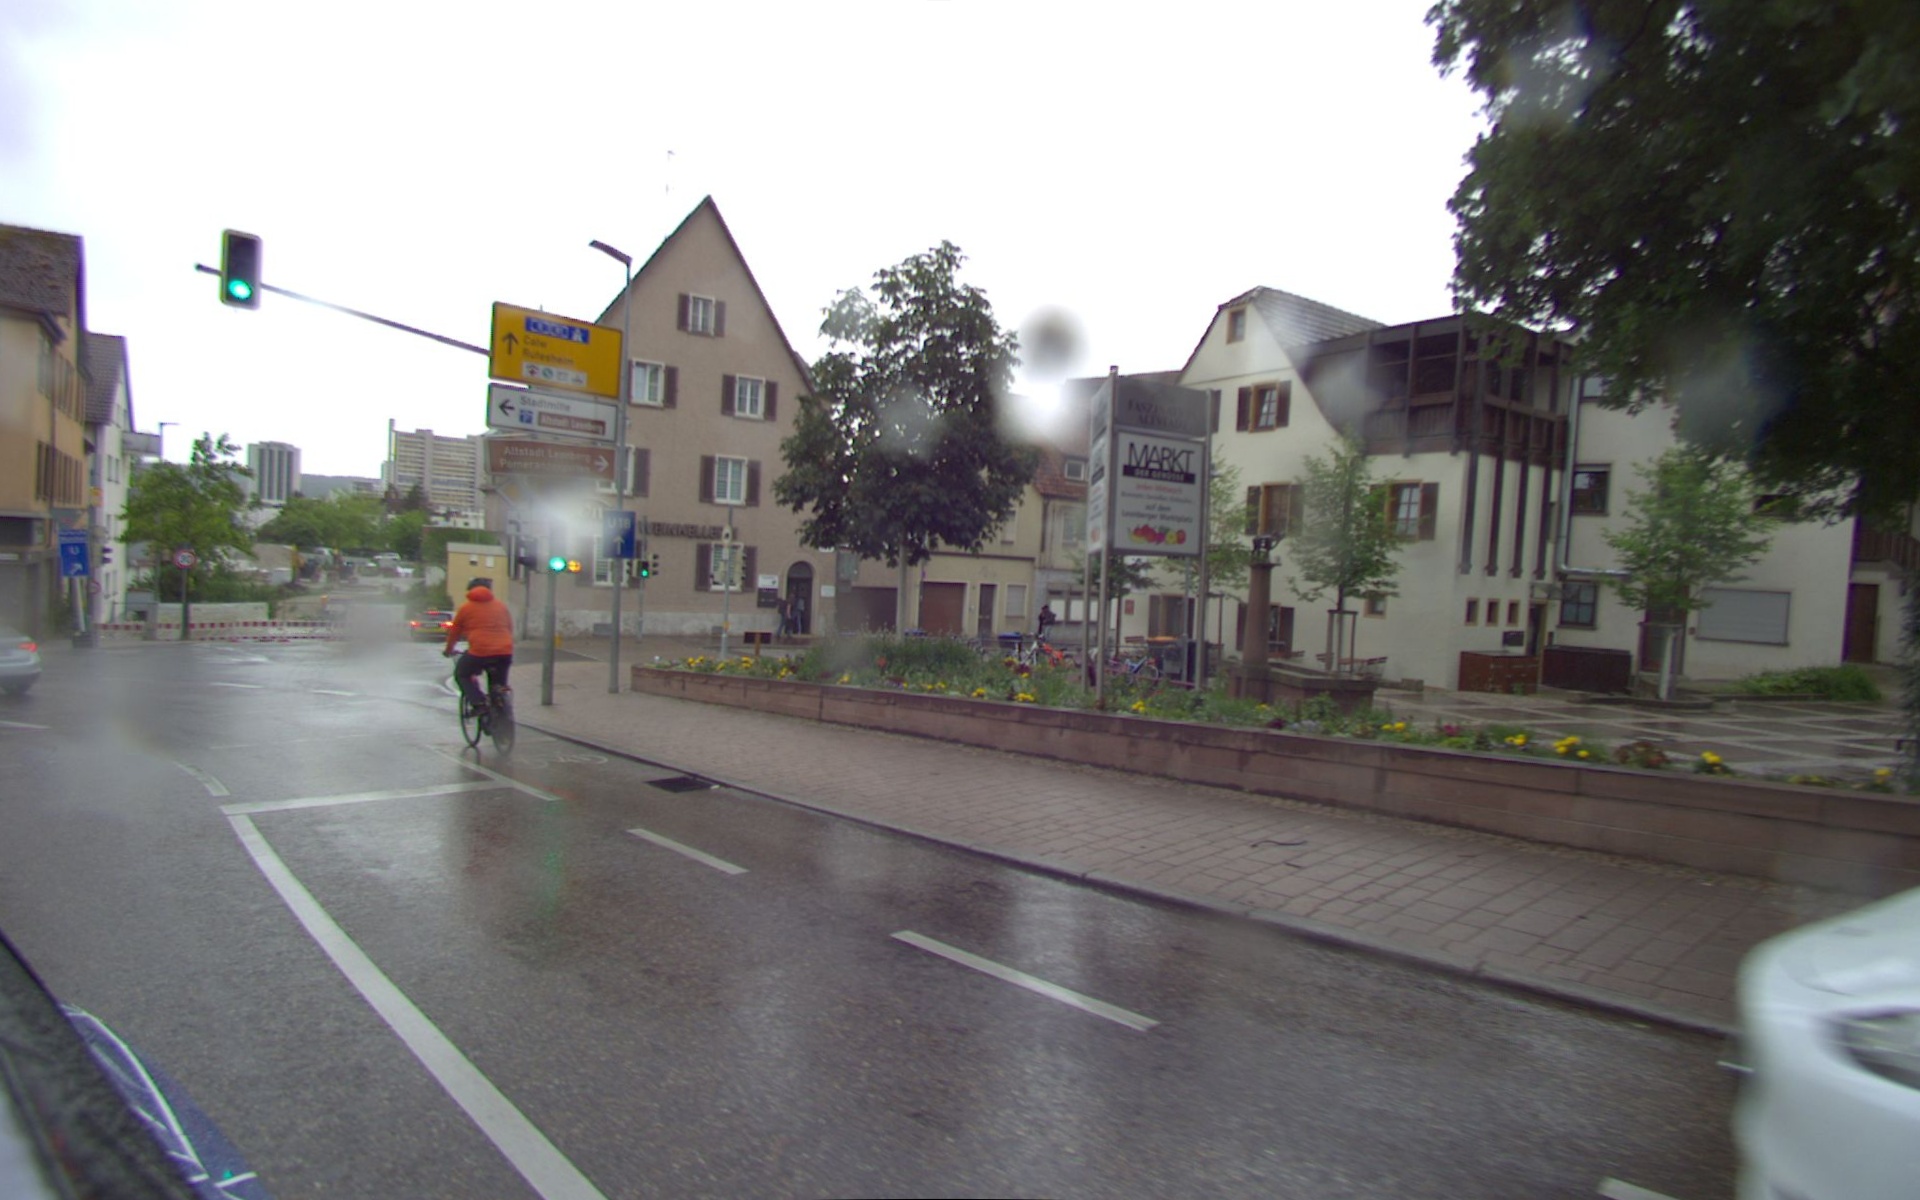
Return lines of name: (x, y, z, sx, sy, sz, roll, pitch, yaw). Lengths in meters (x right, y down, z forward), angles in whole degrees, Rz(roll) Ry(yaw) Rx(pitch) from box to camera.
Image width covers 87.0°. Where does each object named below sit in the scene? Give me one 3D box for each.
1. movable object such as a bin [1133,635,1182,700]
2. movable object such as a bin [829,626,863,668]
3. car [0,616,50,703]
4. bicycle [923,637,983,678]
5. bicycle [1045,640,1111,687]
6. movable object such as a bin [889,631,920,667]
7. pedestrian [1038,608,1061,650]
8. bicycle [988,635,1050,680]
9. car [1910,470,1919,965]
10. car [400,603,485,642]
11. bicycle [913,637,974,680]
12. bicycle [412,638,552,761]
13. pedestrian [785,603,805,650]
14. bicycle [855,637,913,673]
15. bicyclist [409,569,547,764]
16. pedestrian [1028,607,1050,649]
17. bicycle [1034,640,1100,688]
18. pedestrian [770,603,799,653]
movable object such as a bin: (4.214, 1.433, 21.623, 0.735, 1.285, 0.687, 0, 4, -27)
movable object such as a bin: (-3.055, 1.259, 27.184, 0.777, 0.933, 0.726, 3, -17, 1)
car: (-17.902, 0.984, 17.345, 3.837, 1.438, 1.658, 0, -2, 17)
bicycle: (-0.172, 1.411, 24.914, 1.461, 0.918, 0.389, 1, 4, 25)
bicycle: (2.646, 1.419, 22.766, 1.468, 0.918, 0.388, 2, 5, 37)
movable object such as a bin: (-1.493, 1.310, 27.203, 0.588, 0.908, 0.577, 3, 3, 38)
pedestrian: (3.764, 1.222, 42.709, 0.620, 1.745, 0.784, -1, 1, -32)
bicycle: (1.368, 1.323, 23.610, 1.468, 0.918, 0.388, 2, 5, 37)
car: (3.514, 0.625, 0.564, 4.308, 1.675, 1.853, -1, -4, 43)
car: (-22.127, 0.983, 43.448, 1.968, 1.550, 4.422, 1, -1, -9)
bicycle: (-0.411, 1.409, 24.540, 1.461, 0.918, 0.389, 1, 4, 25)
bicycle: (-5.417, 1.054, 11.389, 0.739, 1.172, 2.158, 1, 0, -45)
pedestrian: (-6.328, 1.025, 38.883, 0.528, 1.741, 0.558, 2, 2, -27)
bicycle: (-1.901, 1.371, 25.397, 1.424, 0.824, 0.336, 1, 4, 16)
bicyclist: (-5.360, 0.718, 11.273, 1.123, 2.029, 0.880, 3, -3, -44)
pedestrian: (3.390, 1.181, 43.452, 0.620, 1.745, 0.784, -1, 1, -32)
bicycle: (2.369, 1.414, 22.451, 1.468, 0.918, 0.388, 2, 5, 37)
pedestrian: (-6.586, 1.052, 38.014, 0.798, 1.844, 0.705, -1, 0, 39)
